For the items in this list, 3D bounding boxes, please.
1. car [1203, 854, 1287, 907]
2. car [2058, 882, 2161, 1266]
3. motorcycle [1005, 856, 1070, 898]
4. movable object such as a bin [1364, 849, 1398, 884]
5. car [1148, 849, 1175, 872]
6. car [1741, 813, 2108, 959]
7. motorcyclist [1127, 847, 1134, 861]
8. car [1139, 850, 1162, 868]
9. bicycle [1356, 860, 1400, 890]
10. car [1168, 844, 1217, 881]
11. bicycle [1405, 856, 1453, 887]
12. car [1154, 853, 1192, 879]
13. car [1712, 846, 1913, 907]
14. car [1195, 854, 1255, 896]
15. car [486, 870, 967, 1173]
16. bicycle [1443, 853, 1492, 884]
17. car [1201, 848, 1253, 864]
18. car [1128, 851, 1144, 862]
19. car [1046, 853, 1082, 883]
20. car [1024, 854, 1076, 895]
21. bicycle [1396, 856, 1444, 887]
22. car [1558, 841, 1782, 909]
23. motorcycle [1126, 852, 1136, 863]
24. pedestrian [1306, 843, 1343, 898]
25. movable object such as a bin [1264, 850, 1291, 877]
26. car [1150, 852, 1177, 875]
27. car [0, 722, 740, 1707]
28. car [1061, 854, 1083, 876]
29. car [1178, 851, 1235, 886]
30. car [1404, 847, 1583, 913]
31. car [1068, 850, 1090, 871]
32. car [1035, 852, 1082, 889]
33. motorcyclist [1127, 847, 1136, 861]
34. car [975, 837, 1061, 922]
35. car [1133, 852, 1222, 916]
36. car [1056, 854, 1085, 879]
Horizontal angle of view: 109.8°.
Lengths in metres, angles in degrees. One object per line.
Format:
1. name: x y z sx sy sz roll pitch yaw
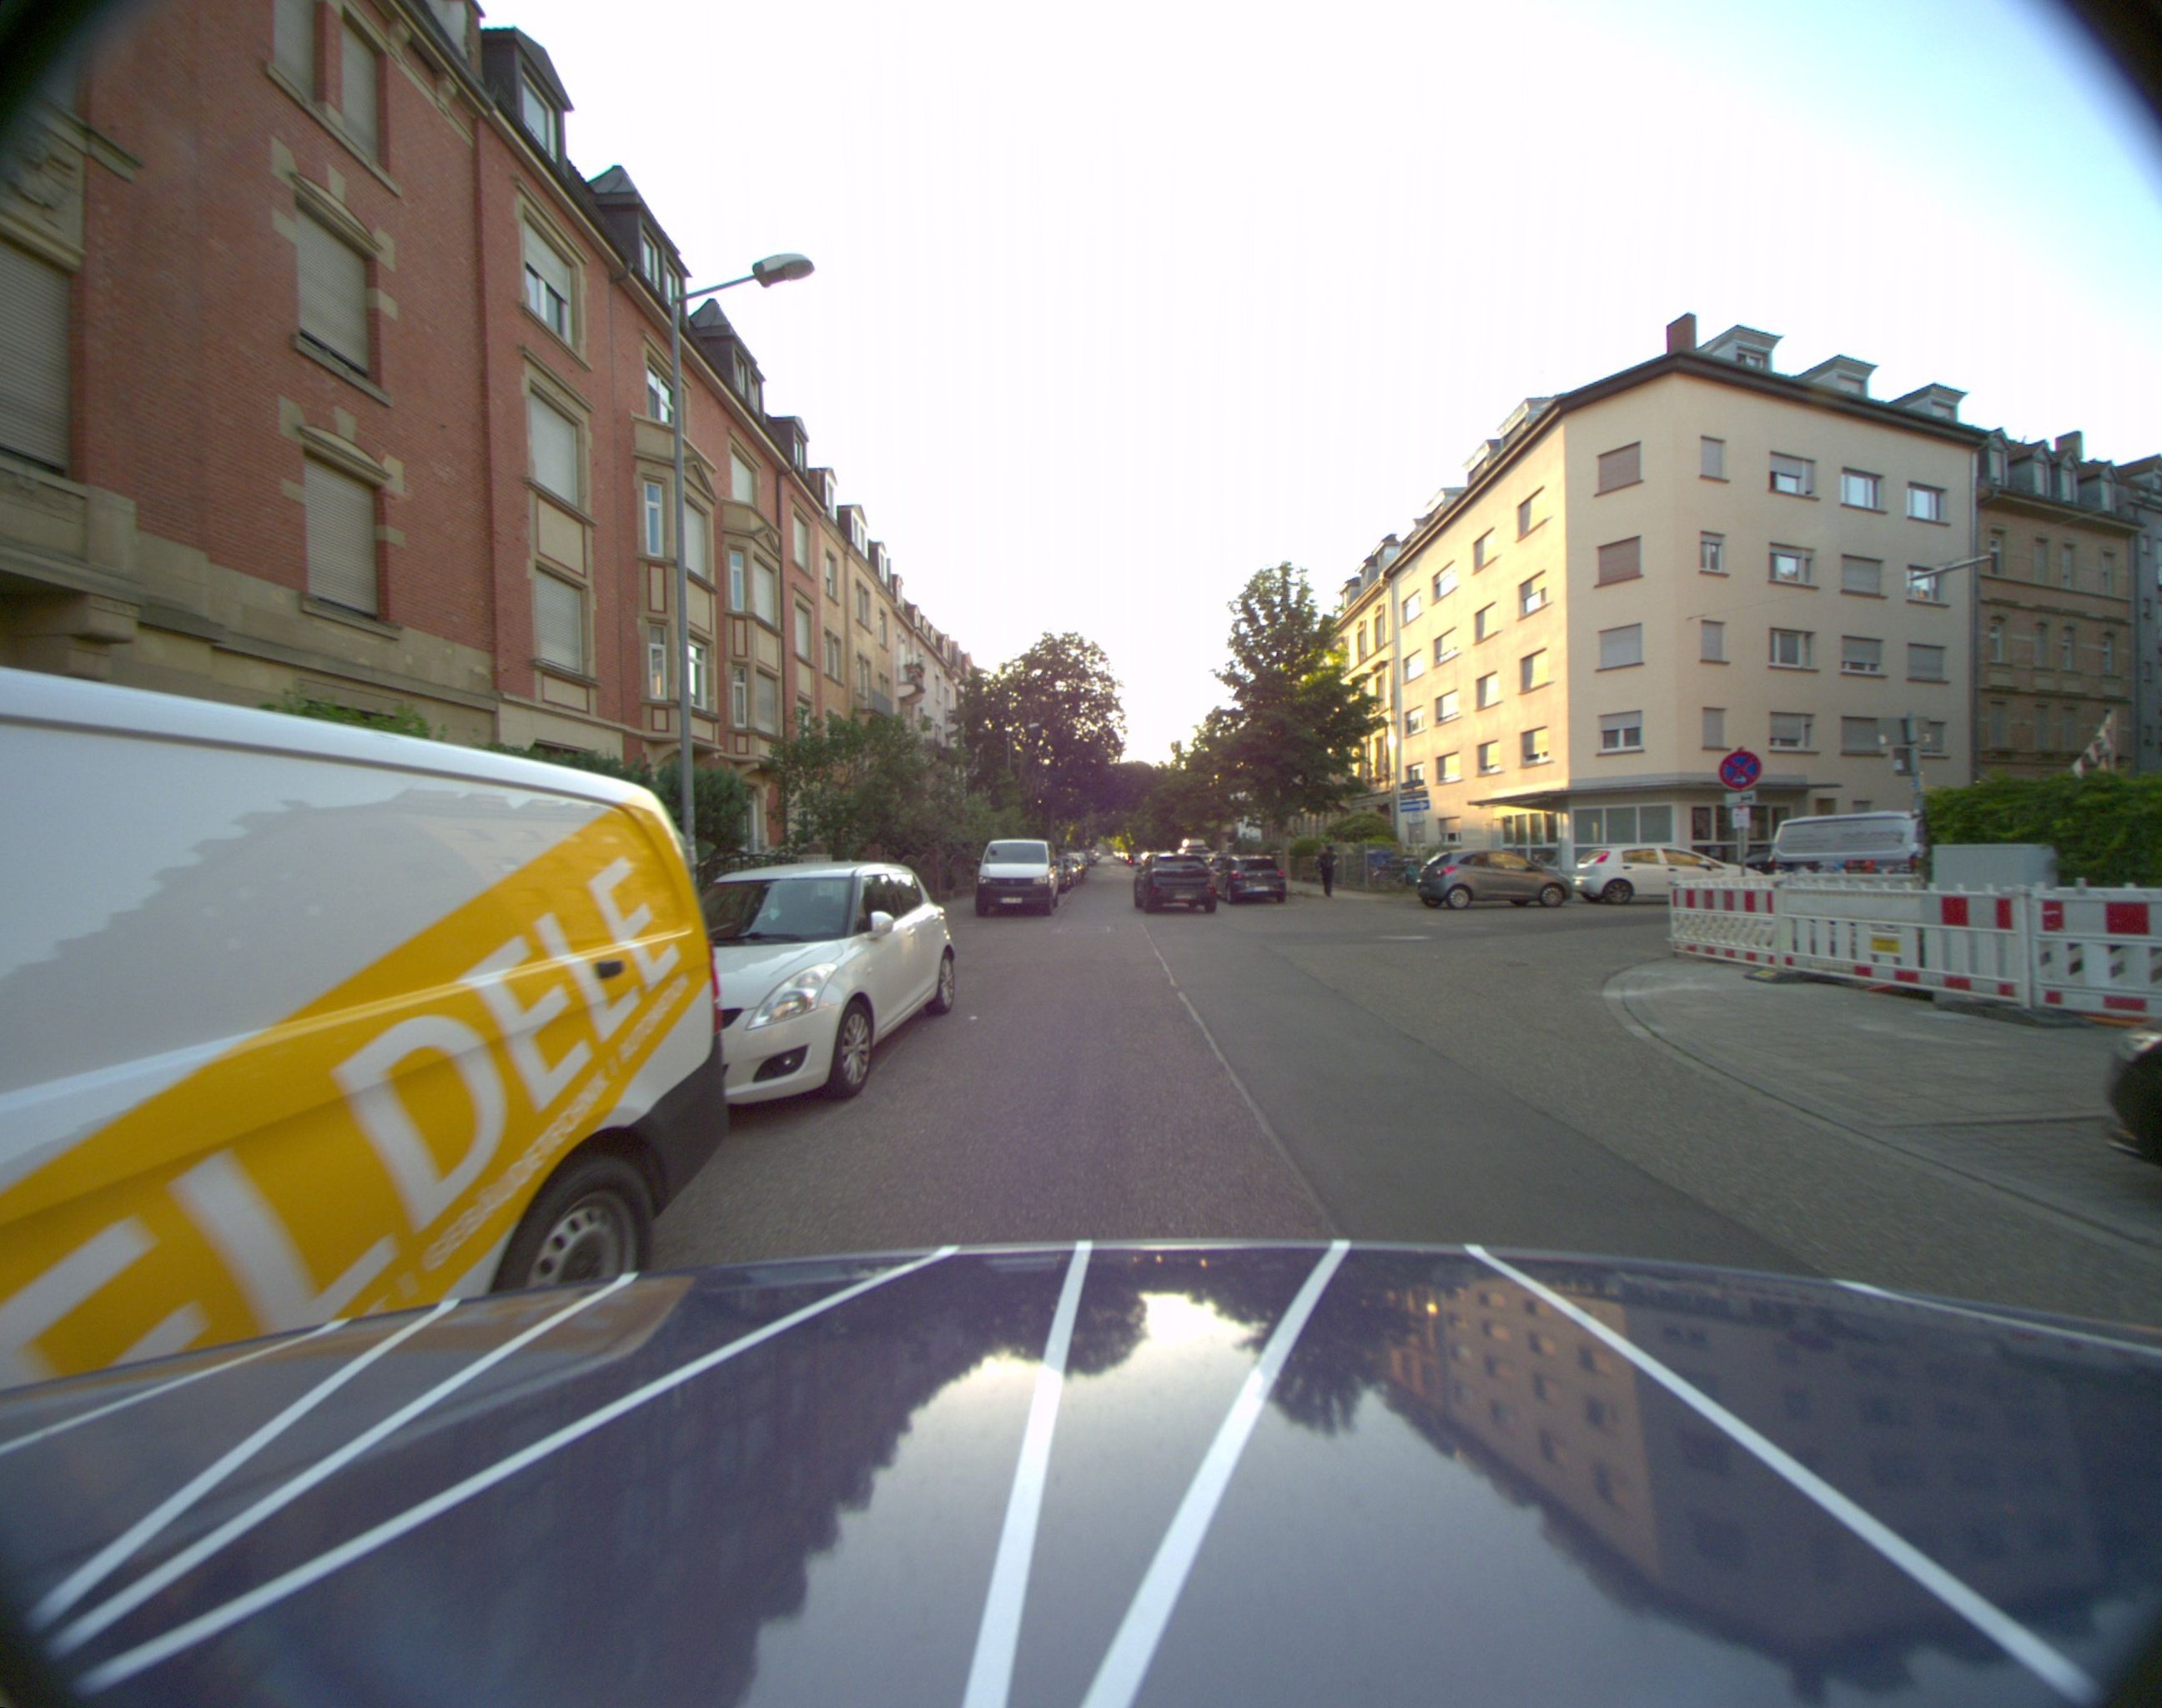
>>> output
1. car: 5.145 0.788 24.414 1.679 1.453 4.463 -2 1 0
2. car: 5.134 0.891 1.430 1.707 1.525 3.844 -2 1 2
3. motorcycle: -1.595 0.840 28.129 2.099 1.474 1.130 0 1 -32
4. movable object such as a bin: 12.067 0.484 30.594 0.868 1.344 1.398 -3 1 3
5. car: 6.301 0.460 59.844 1.866 1.653 4.021 -2 1 2
6. car: 13.532 0.397 12.204 5.300 1.963 2.205 -1 0 -21
7. motorcyclist: 5.755 -0.003 88.157 0.788 1.531 0.546 2 1 12
8. car: 6.537 0.426 71.402 1.677 1.627 3.940 -2 1 -1
9. bicycle: 10.806 0.756 27.733 0.689 1.020 1.931 -3 1 -4
10. car: 5.731 0.409 39.388 1.866 1.769 4.623 -2 1 1
11. bicycle: 12.823 0.635 28.009 0.501 1.086 1.545 -3 1 -36
12. car: 5.495 0.682 45.647 1.732 1.433 4.024 -2 1 0
13. car: 19.297 0.559 20.098 4.081 1.431 1.996 -1 0 -15
14. car: 5.450 0.738 29.233 1.746 1.412 4.143 -2 1 4
15. car: -2.188 0.946 5.958 1.678 1.468 3.862 -2 1 4
16. bicycle: 14.926 0.548 29.328 1.635 1.086 0.500 -3 1 -4
17. car: 13.171 0.176 68.806 4.412 1.333 1.626 -2 1 2
18. car: 7.563 0.360 105.067 1.953 1.484 3.738 -2 1 1
19. car: -0.881 0.746 41.935 1.589 1.516 3.603 -3 0 4
20. car: -1.234 0.805 32.186 1.724 1.542 4.326 -2 1 4
21. bicycle: 12.369 0.634 27.750 0.501 1.086 1.545 -3 1 -36
22. car: 14.898 0.521 19.485 4.065 1.500 1.975 -2 1 14
23. motorcycle: 5.878 0.409 88.693 0.847 1.202 2.076 2 1 12
24. pedestrian: 7.922 0.540 24.718 0.889 1.712 0.960 -2 1 32
25. movable object such as a bin: 10.549 0.471 40.771 0.948 1.379 1.551 -3 1 -2
26. car: 5.916 0.649 54.814 1.682 1.490 3.626 -2 1 4
27. car: -2.388 0.794 0.462 1.898 1.873 5.082 -2 1 1
28. car: -0.614 0.758 55.012 1.479 1.498 3.928 -2 1 0
29. car: 5.600 0.584 34.385 1.866 1.404 4.590 -2 1 1
30. car: 10.370 0.644 19.320 3.515 1.499 1.845 -2 0 1
31. car: -0.143 0.559 65.028 1.736 1.692 4.168 -2 1 0
32. car: -1.042 0.758 37.437 1.760 1.573 4.843 -3 0 4
33. motorcyclist: 5.953 -0.007 88.901 0.891 1.496 0.970 2 1 12
34. car: -1.594 0.598 21.175 1.866 2.027 5.544 0 1 1
35. car: 2.435 0.711 20.194 1.784 1.509 3.999 0 1 -1
36. car: -0.667 0.775 49.797 1.736 1.498 4.163 -2 1 0
